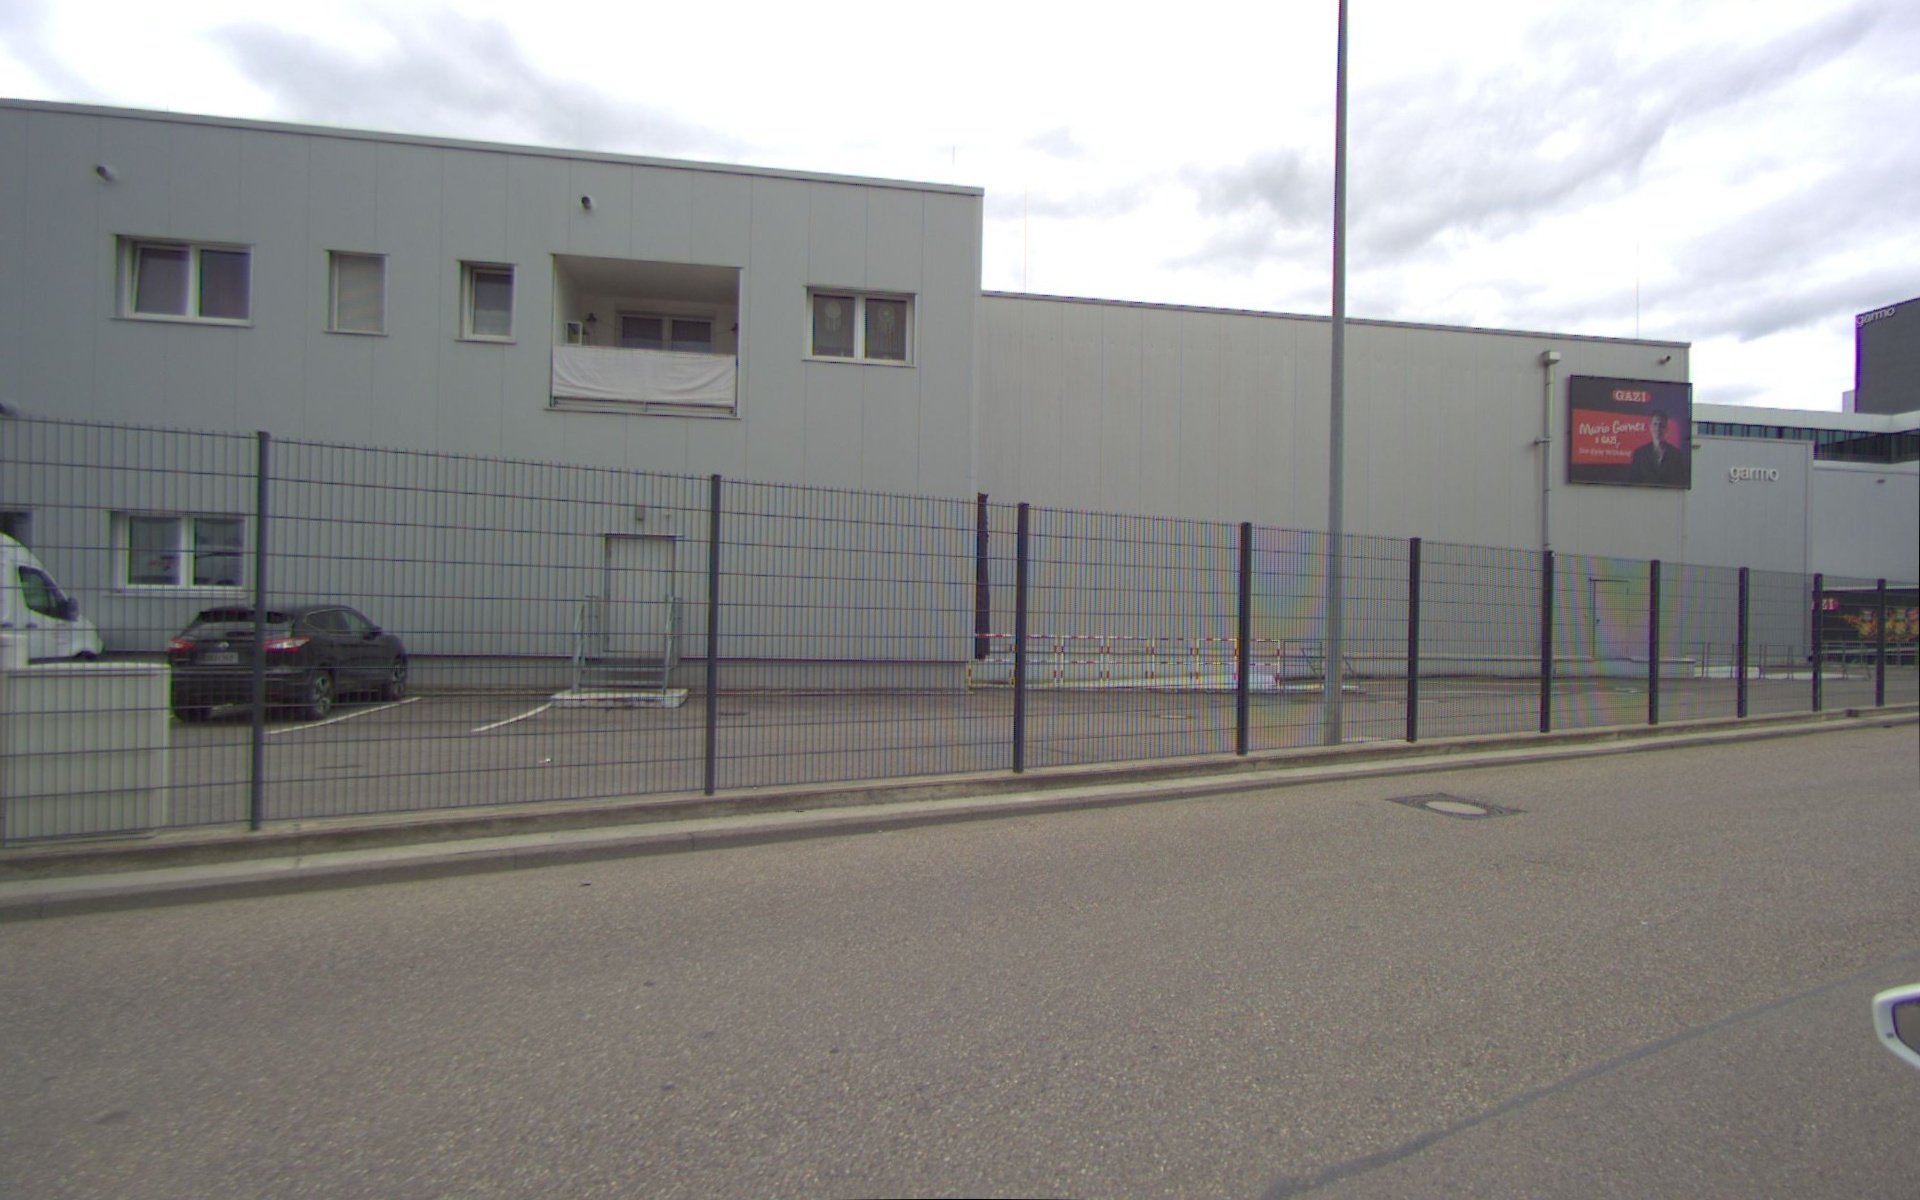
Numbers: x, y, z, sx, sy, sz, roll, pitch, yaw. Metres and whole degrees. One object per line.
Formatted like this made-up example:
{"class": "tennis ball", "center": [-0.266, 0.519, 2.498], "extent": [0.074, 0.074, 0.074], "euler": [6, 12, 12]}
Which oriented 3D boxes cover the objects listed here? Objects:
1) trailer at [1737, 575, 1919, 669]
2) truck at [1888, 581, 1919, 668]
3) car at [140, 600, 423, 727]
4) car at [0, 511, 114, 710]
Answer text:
{"class": "trailer", "center": [43.013, 1.085, 47.093], "extent": [12.389, 4.084, 2.746], "euler": [1, 0, -10]}
{"class": "truck", "center": [48.885, 1.227, 48.139], "extent": [6.964, 4.084, 2.746], "euler": [1, 0, -10]}
{"class": "car", "center": [-9.866, 0.830, 15.059], "extent": [1.908, 1.598, 4.075], "euler": [1, 0, -8]}
{"class": "car", "center": [-14.399, 0.133, 13.516], "extent": [2.201, 2.767, 5.423], "euler": [1, 1, -11]}
